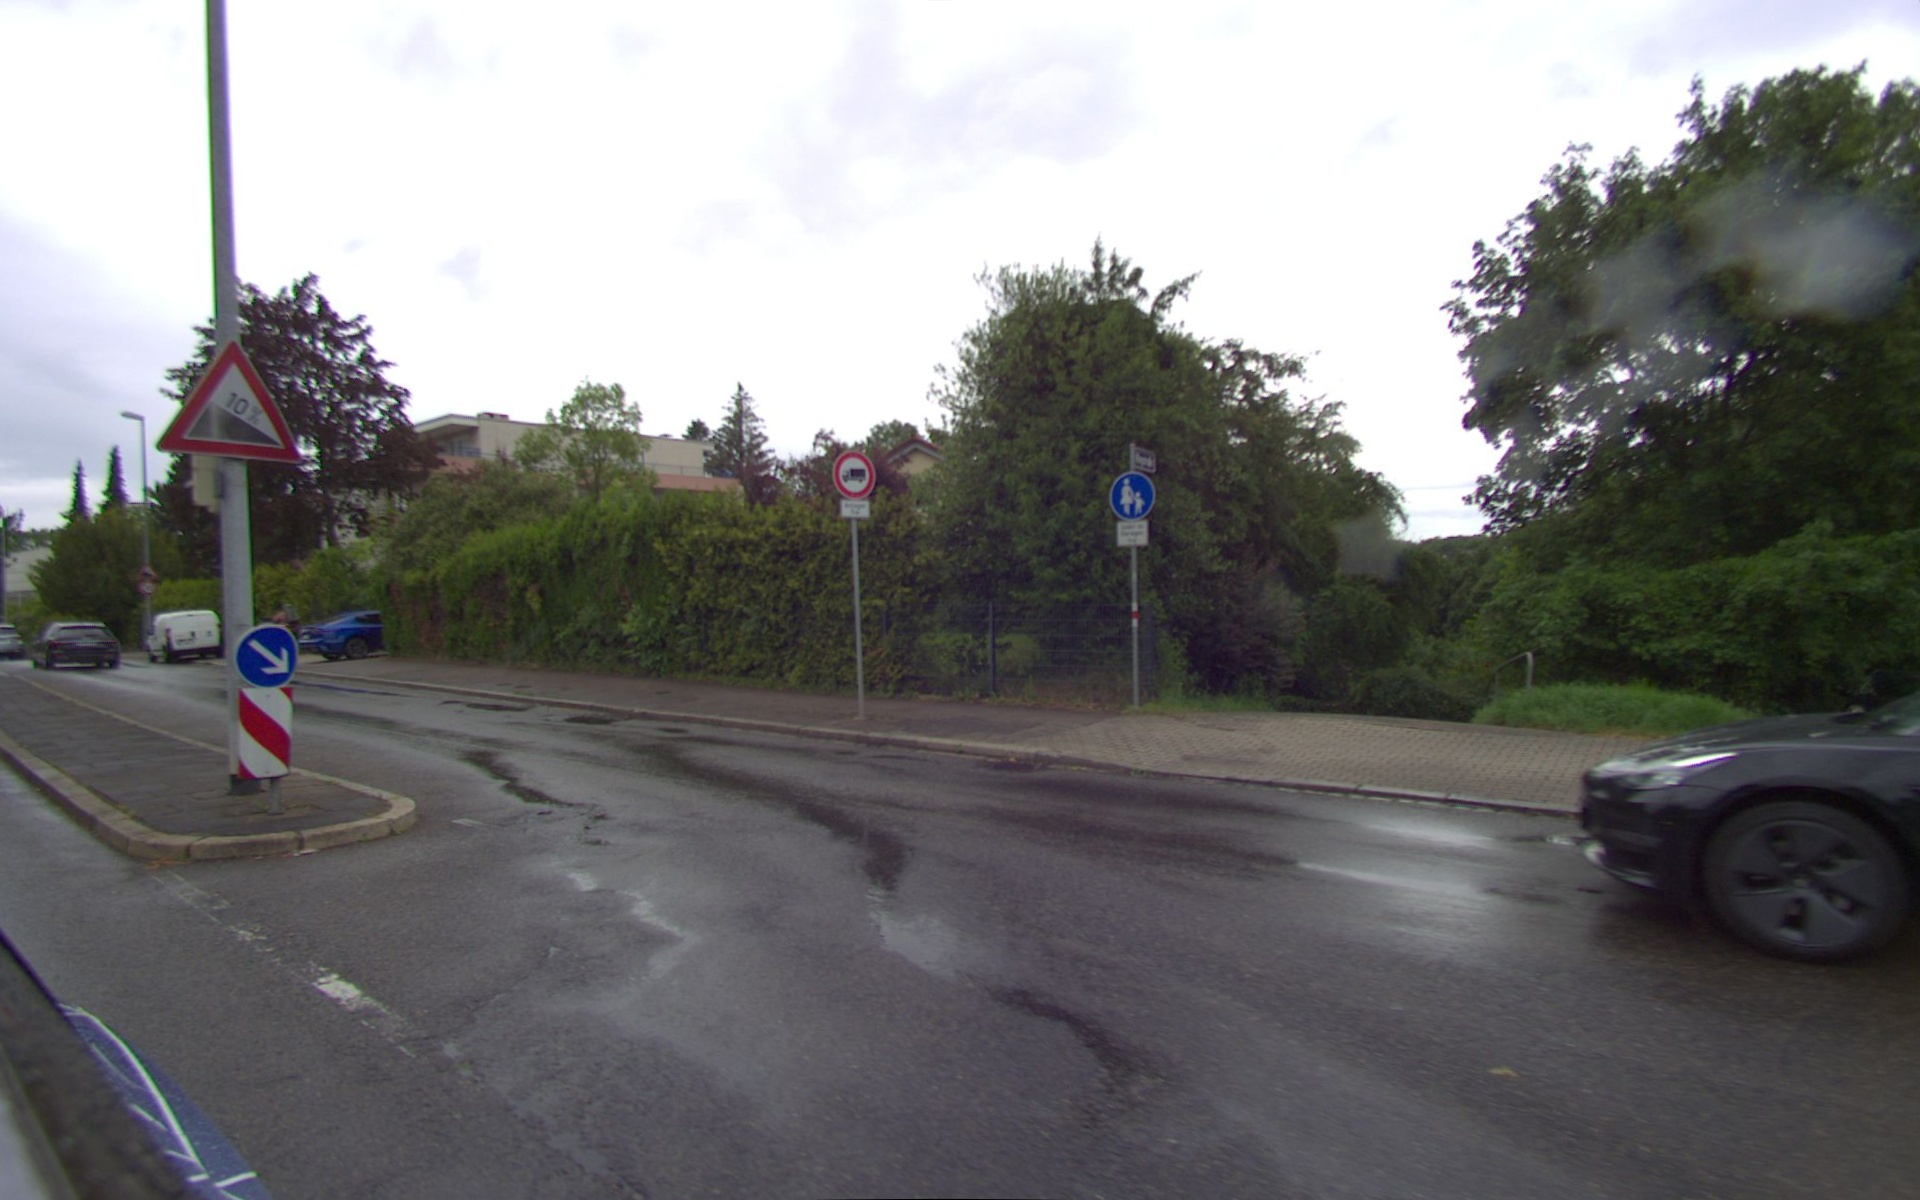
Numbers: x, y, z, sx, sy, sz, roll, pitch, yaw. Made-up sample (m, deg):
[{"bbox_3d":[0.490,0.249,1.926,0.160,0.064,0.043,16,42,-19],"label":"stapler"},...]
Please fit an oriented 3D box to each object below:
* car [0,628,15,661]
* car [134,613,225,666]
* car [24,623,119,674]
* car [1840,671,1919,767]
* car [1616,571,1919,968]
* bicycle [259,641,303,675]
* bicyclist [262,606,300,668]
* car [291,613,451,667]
[{"bbox_3d":[-46.450,2.118,48.143,3.998,1.467,1.797,-1,0,41],"label":"car"},{"bbox_3d":[-27.692,1.357,35.863,3.998,1.730,1.797,-1,0,41],"label":"car"},{"bbox_3d":[-28.504,1.488,32.427,3.998,1.467,1.797,-1,0,41],"label":"car"},{"bbox_3d":[16.666,1.999,17.434,3.939,1.367,1.846,1,-2,-43],"label":"car"},{"bbox_3d":[5.164,0.633,3.790,4.438,1.487,1.848,-1,-2,37],"label":"car"},{"bbox_3d":[-18.637,1.572,27.761,0.732,0.857,1.975,-1,0,-41],"label":"bicycle"},{"bbox_3d":[-18.550,1.001,27.637,0.732,1.659,0.779,-1,0,-41],"label":"bicyclist"},{"bbox_3d":[-17.784,1.156,30.689,1.766,1.467,3.840,-1,0,39],"label":"car"}]
